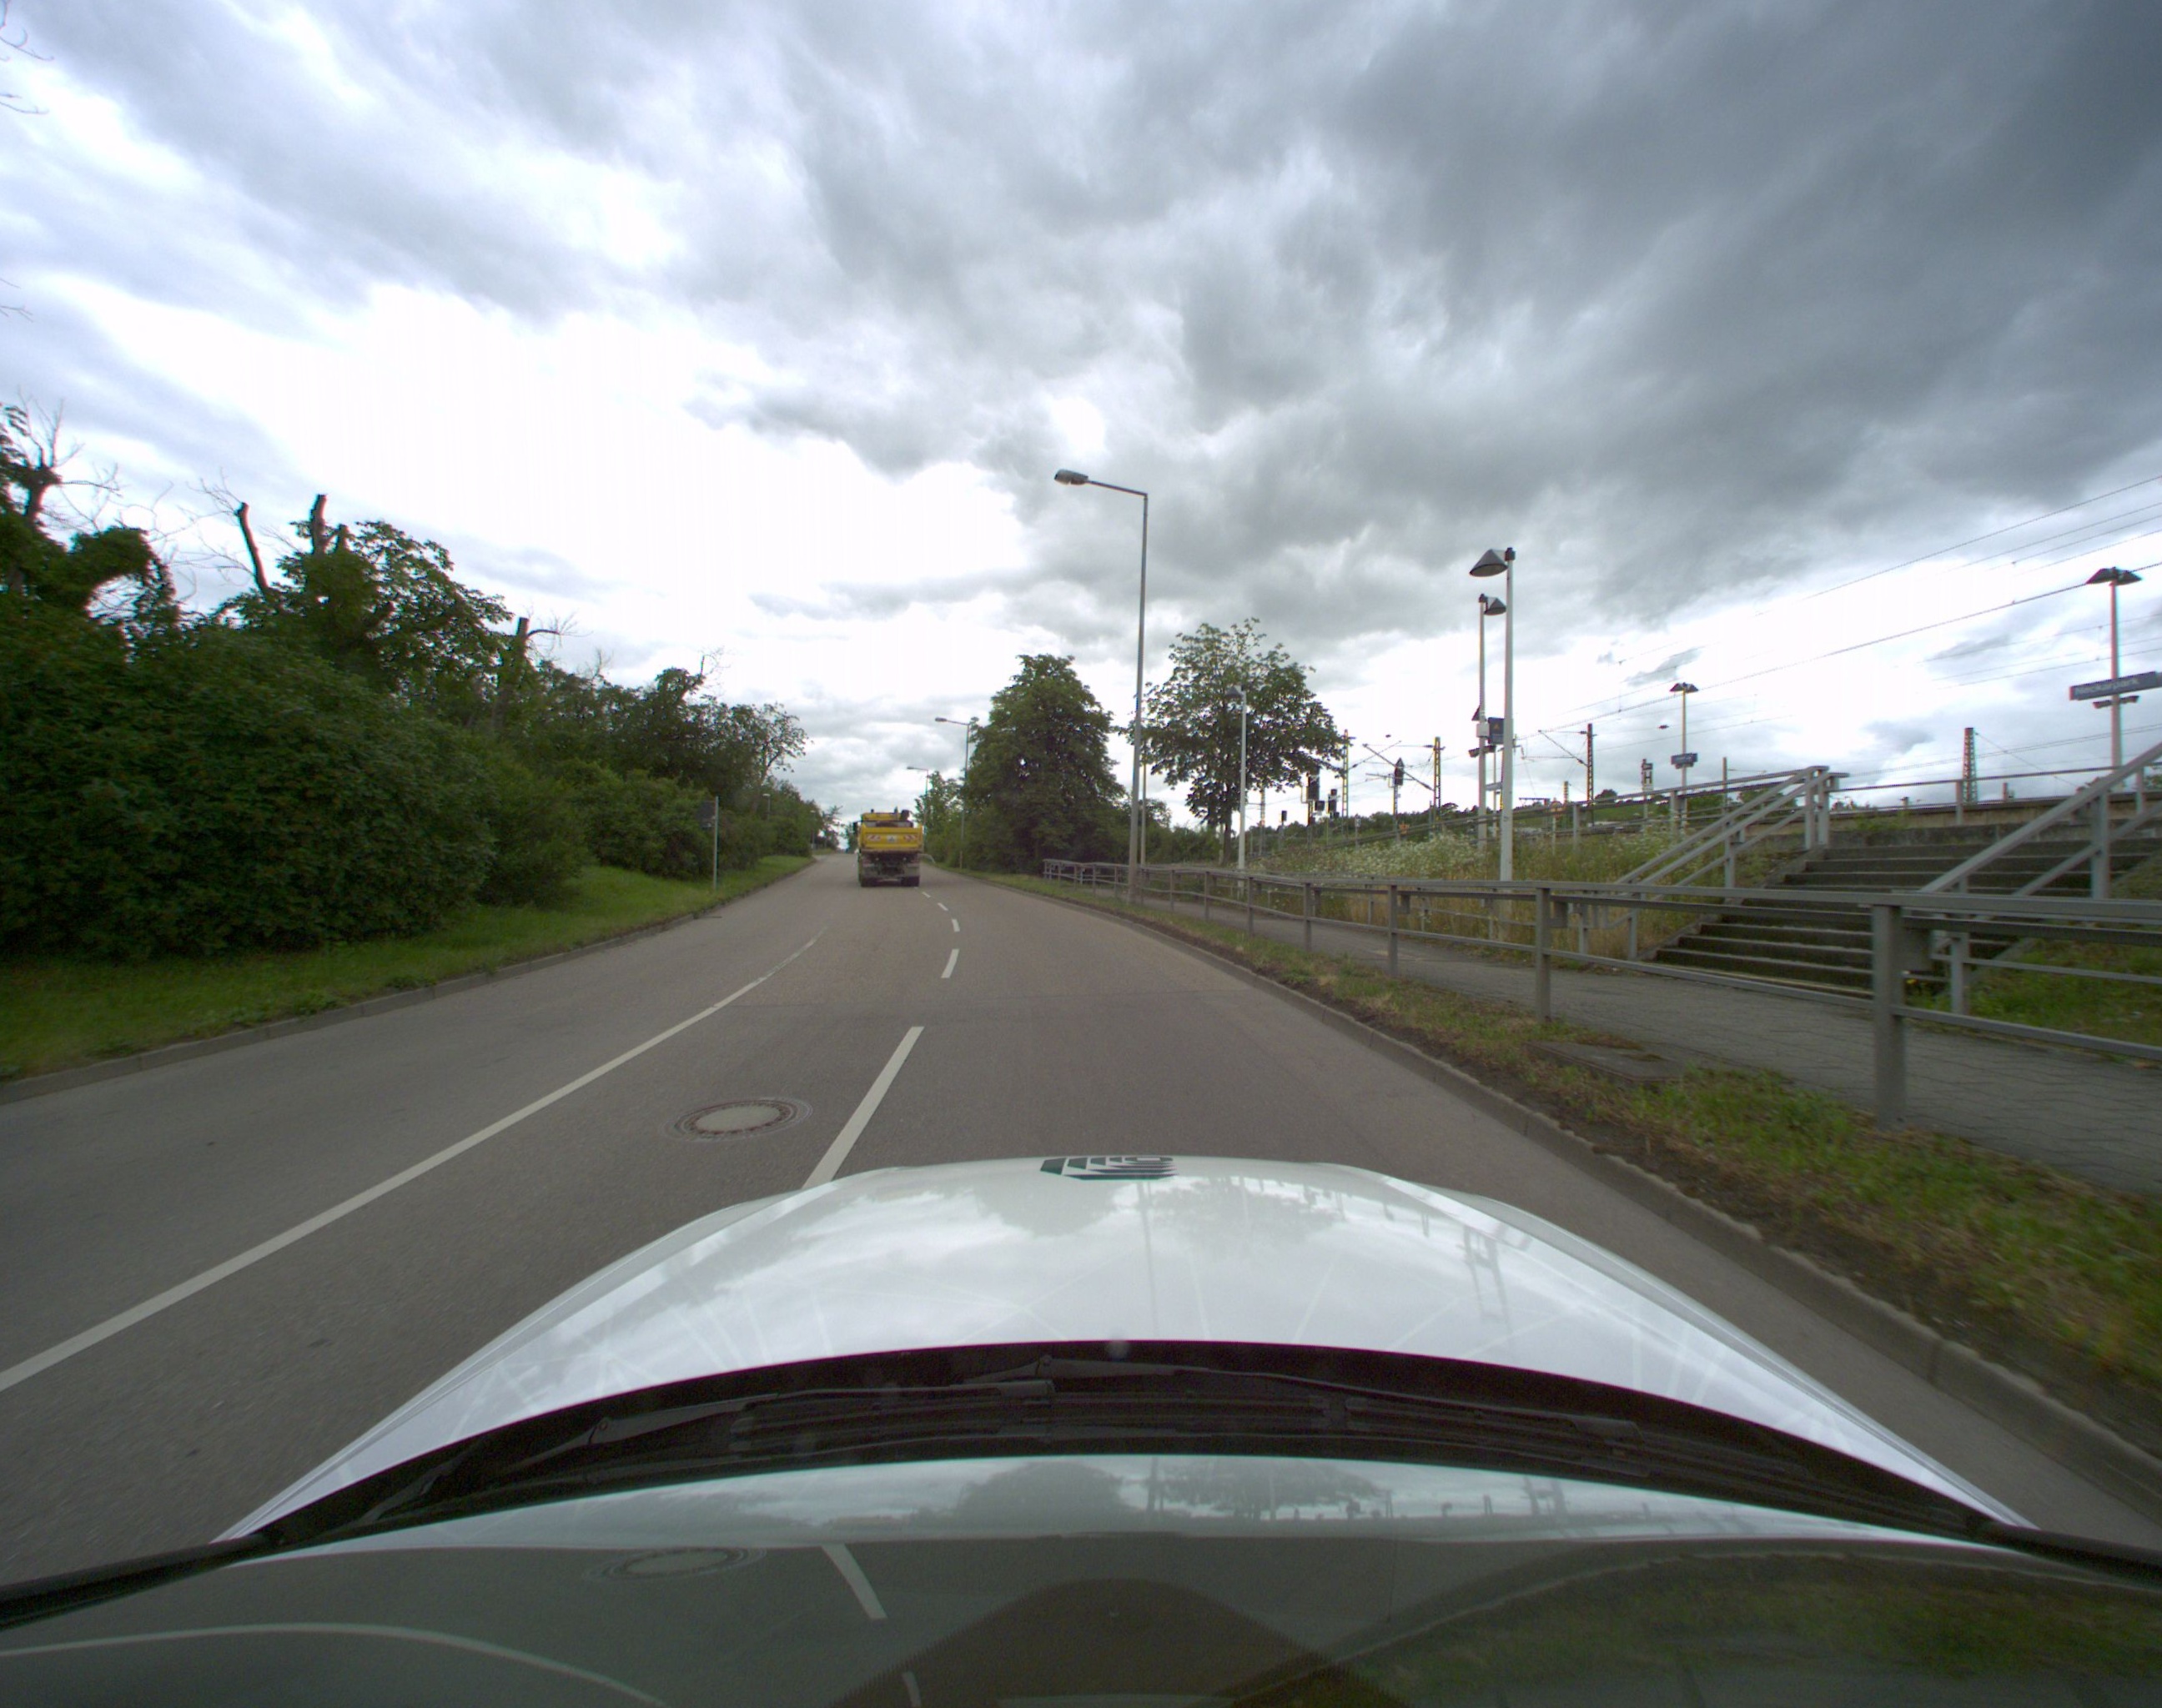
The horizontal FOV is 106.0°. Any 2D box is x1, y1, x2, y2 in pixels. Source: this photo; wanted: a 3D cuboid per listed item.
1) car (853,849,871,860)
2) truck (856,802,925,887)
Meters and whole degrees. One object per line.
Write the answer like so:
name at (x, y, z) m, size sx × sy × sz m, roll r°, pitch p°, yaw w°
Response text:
car at (-34.350, 0.050, 127.726) m, size 1.991 × 1.640 × 3.991 m, roll 2°, pitch 0°, yaw -6°
truck at (-8.985, -0.449, 37.754) m, size 2.770 × 3.483 × 8.086 m, roll 0°, pitch 1°, yaw -16°
